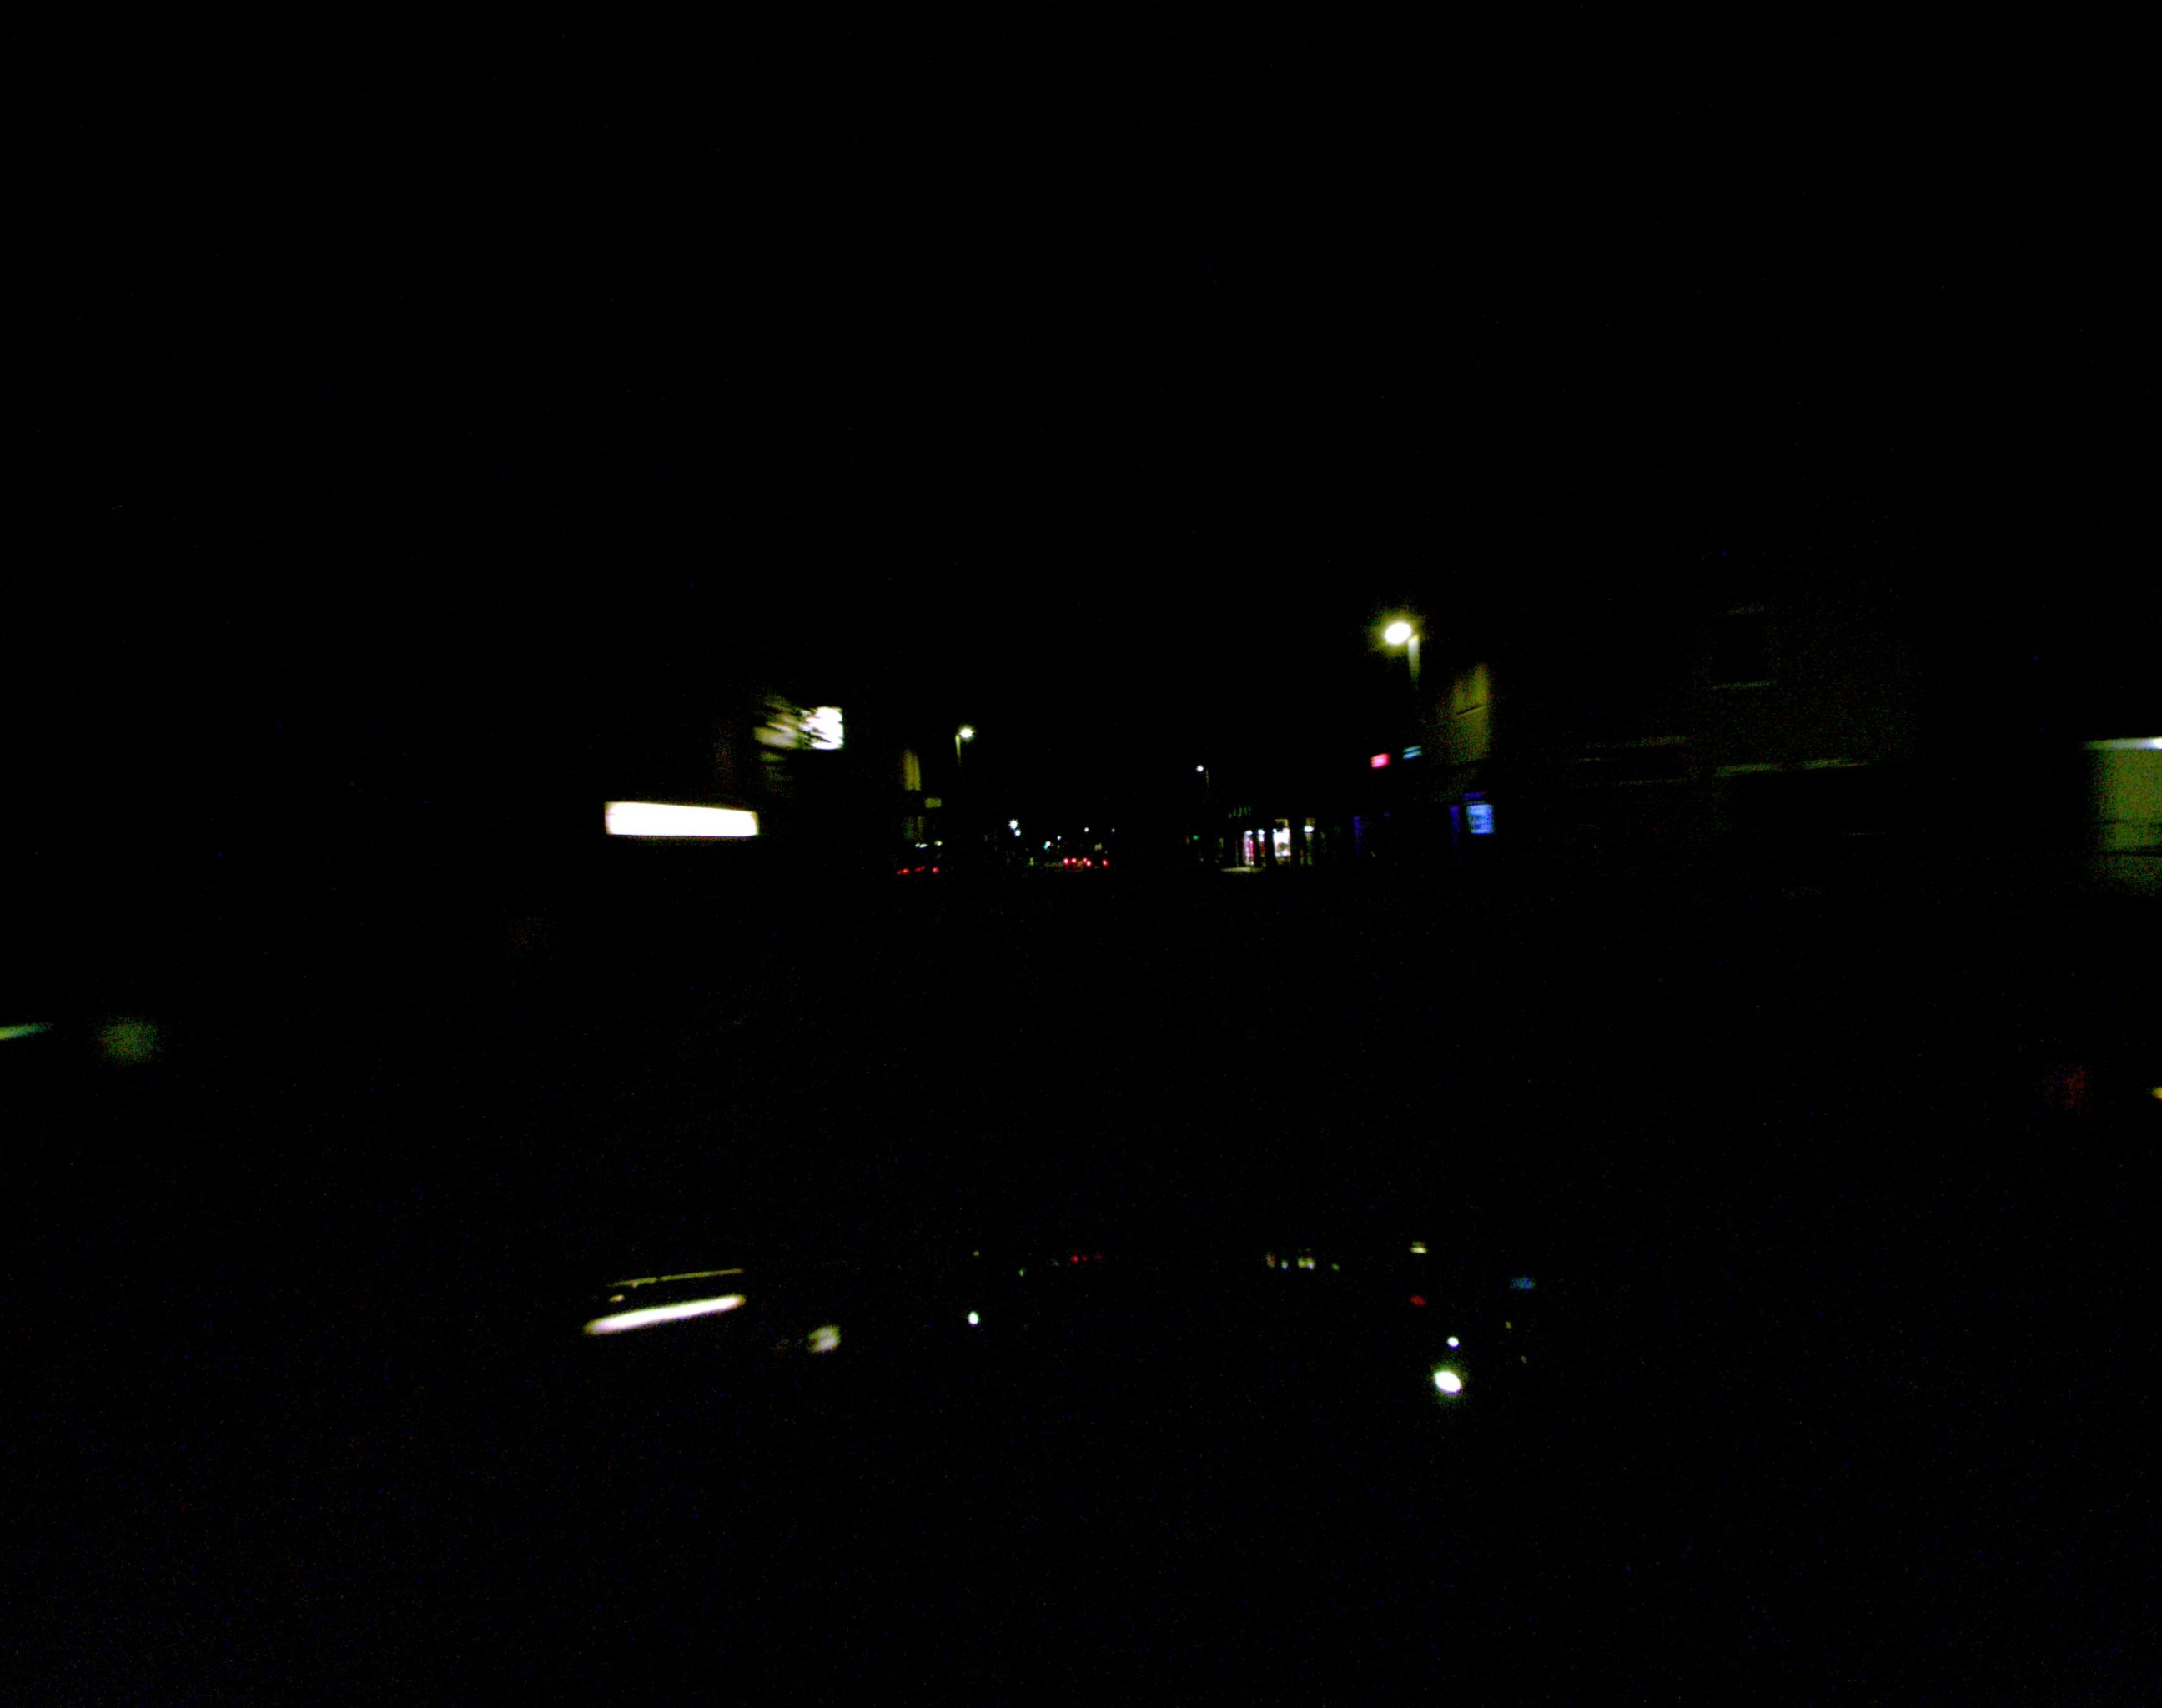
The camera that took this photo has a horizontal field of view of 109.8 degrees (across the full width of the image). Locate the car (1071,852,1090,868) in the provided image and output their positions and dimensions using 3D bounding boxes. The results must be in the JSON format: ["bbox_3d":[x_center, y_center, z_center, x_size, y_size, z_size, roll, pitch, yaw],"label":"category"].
[{"bbox_3d":[-0.072,0.642,84.000,1.753,1.635,4.306,-2,0,-4],"label":"car"}]

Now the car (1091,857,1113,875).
[{"bbox_3d":[1.763,1.016,65.097,1.721,1.419,3.815,-2,0,-1],"label":"car"}]

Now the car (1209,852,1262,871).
[{"bbox_3d":[12.417,0.605,61.198,3.833,1.408,1.652,-1,0,0],"label":"car"}]

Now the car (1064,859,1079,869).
[{"bbox_3d":[-1.317,1.276,100.448,1.822,1.271,3.916,-2,0,-2],"label":"car"}]

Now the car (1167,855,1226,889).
[{"bbox_3d":[5.470,0.825,36.513,1.901,1.411,4.930,-4,0,-1],"label":"car"}]

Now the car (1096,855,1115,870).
[{"bbox_3d":[2.901,1.051,90.423,1.814,1.637,3.803,-4,0,-2],"label":"car"}]

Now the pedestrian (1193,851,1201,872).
[{"bbox_3d":[9.075,0.574,59.284,0.529,1.579,0.666,-2,0,6],"label":"pedestrian"}]

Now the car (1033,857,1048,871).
[{"bbox_3d":[-4.568,1.116,84.556,1.607,1.474,3.698,-2,0,-4],"label":"car"}]

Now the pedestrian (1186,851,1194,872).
[{"bbox_3d":[8.536,0.598,59.580,0.529,1.579,0.666,-2,0,8],"label":"pedestrian"}]
